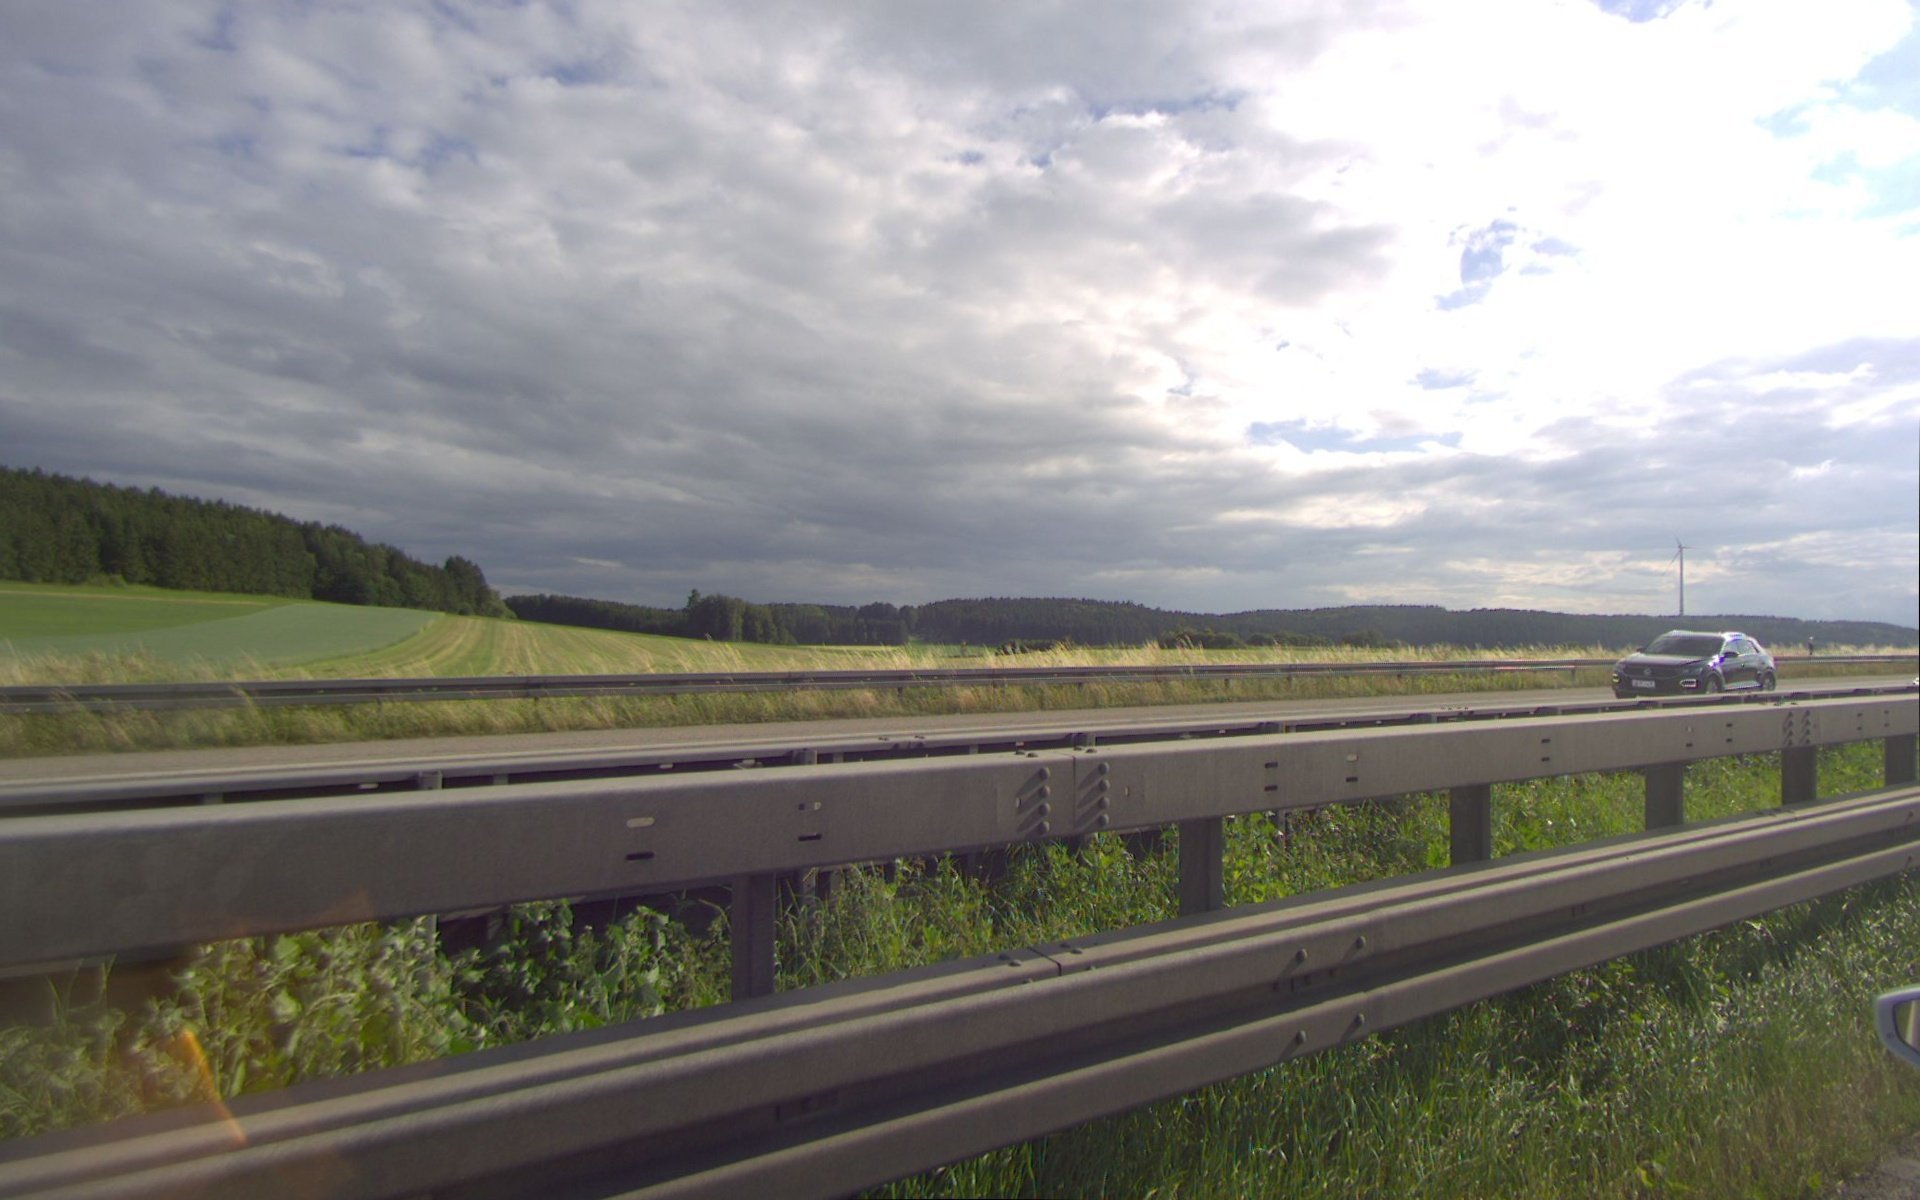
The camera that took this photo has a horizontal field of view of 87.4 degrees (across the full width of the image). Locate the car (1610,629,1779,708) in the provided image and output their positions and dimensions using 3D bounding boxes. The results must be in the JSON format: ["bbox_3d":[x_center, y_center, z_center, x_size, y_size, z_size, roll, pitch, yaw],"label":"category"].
[{"bbox_3d":[16.106,1.456,21.991,3.955,1.541,1.607,2,0,-32],"label":"car"}]

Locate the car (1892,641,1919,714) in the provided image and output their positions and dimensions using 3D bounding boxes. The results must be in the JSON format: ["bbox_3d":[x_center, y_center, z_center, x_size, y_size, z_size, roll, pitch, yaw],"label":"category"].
[{"bbox_3d":[20.541,1.581,20.220,3.955,1.410,1.607,2,0,-32],"label":"car"}]
